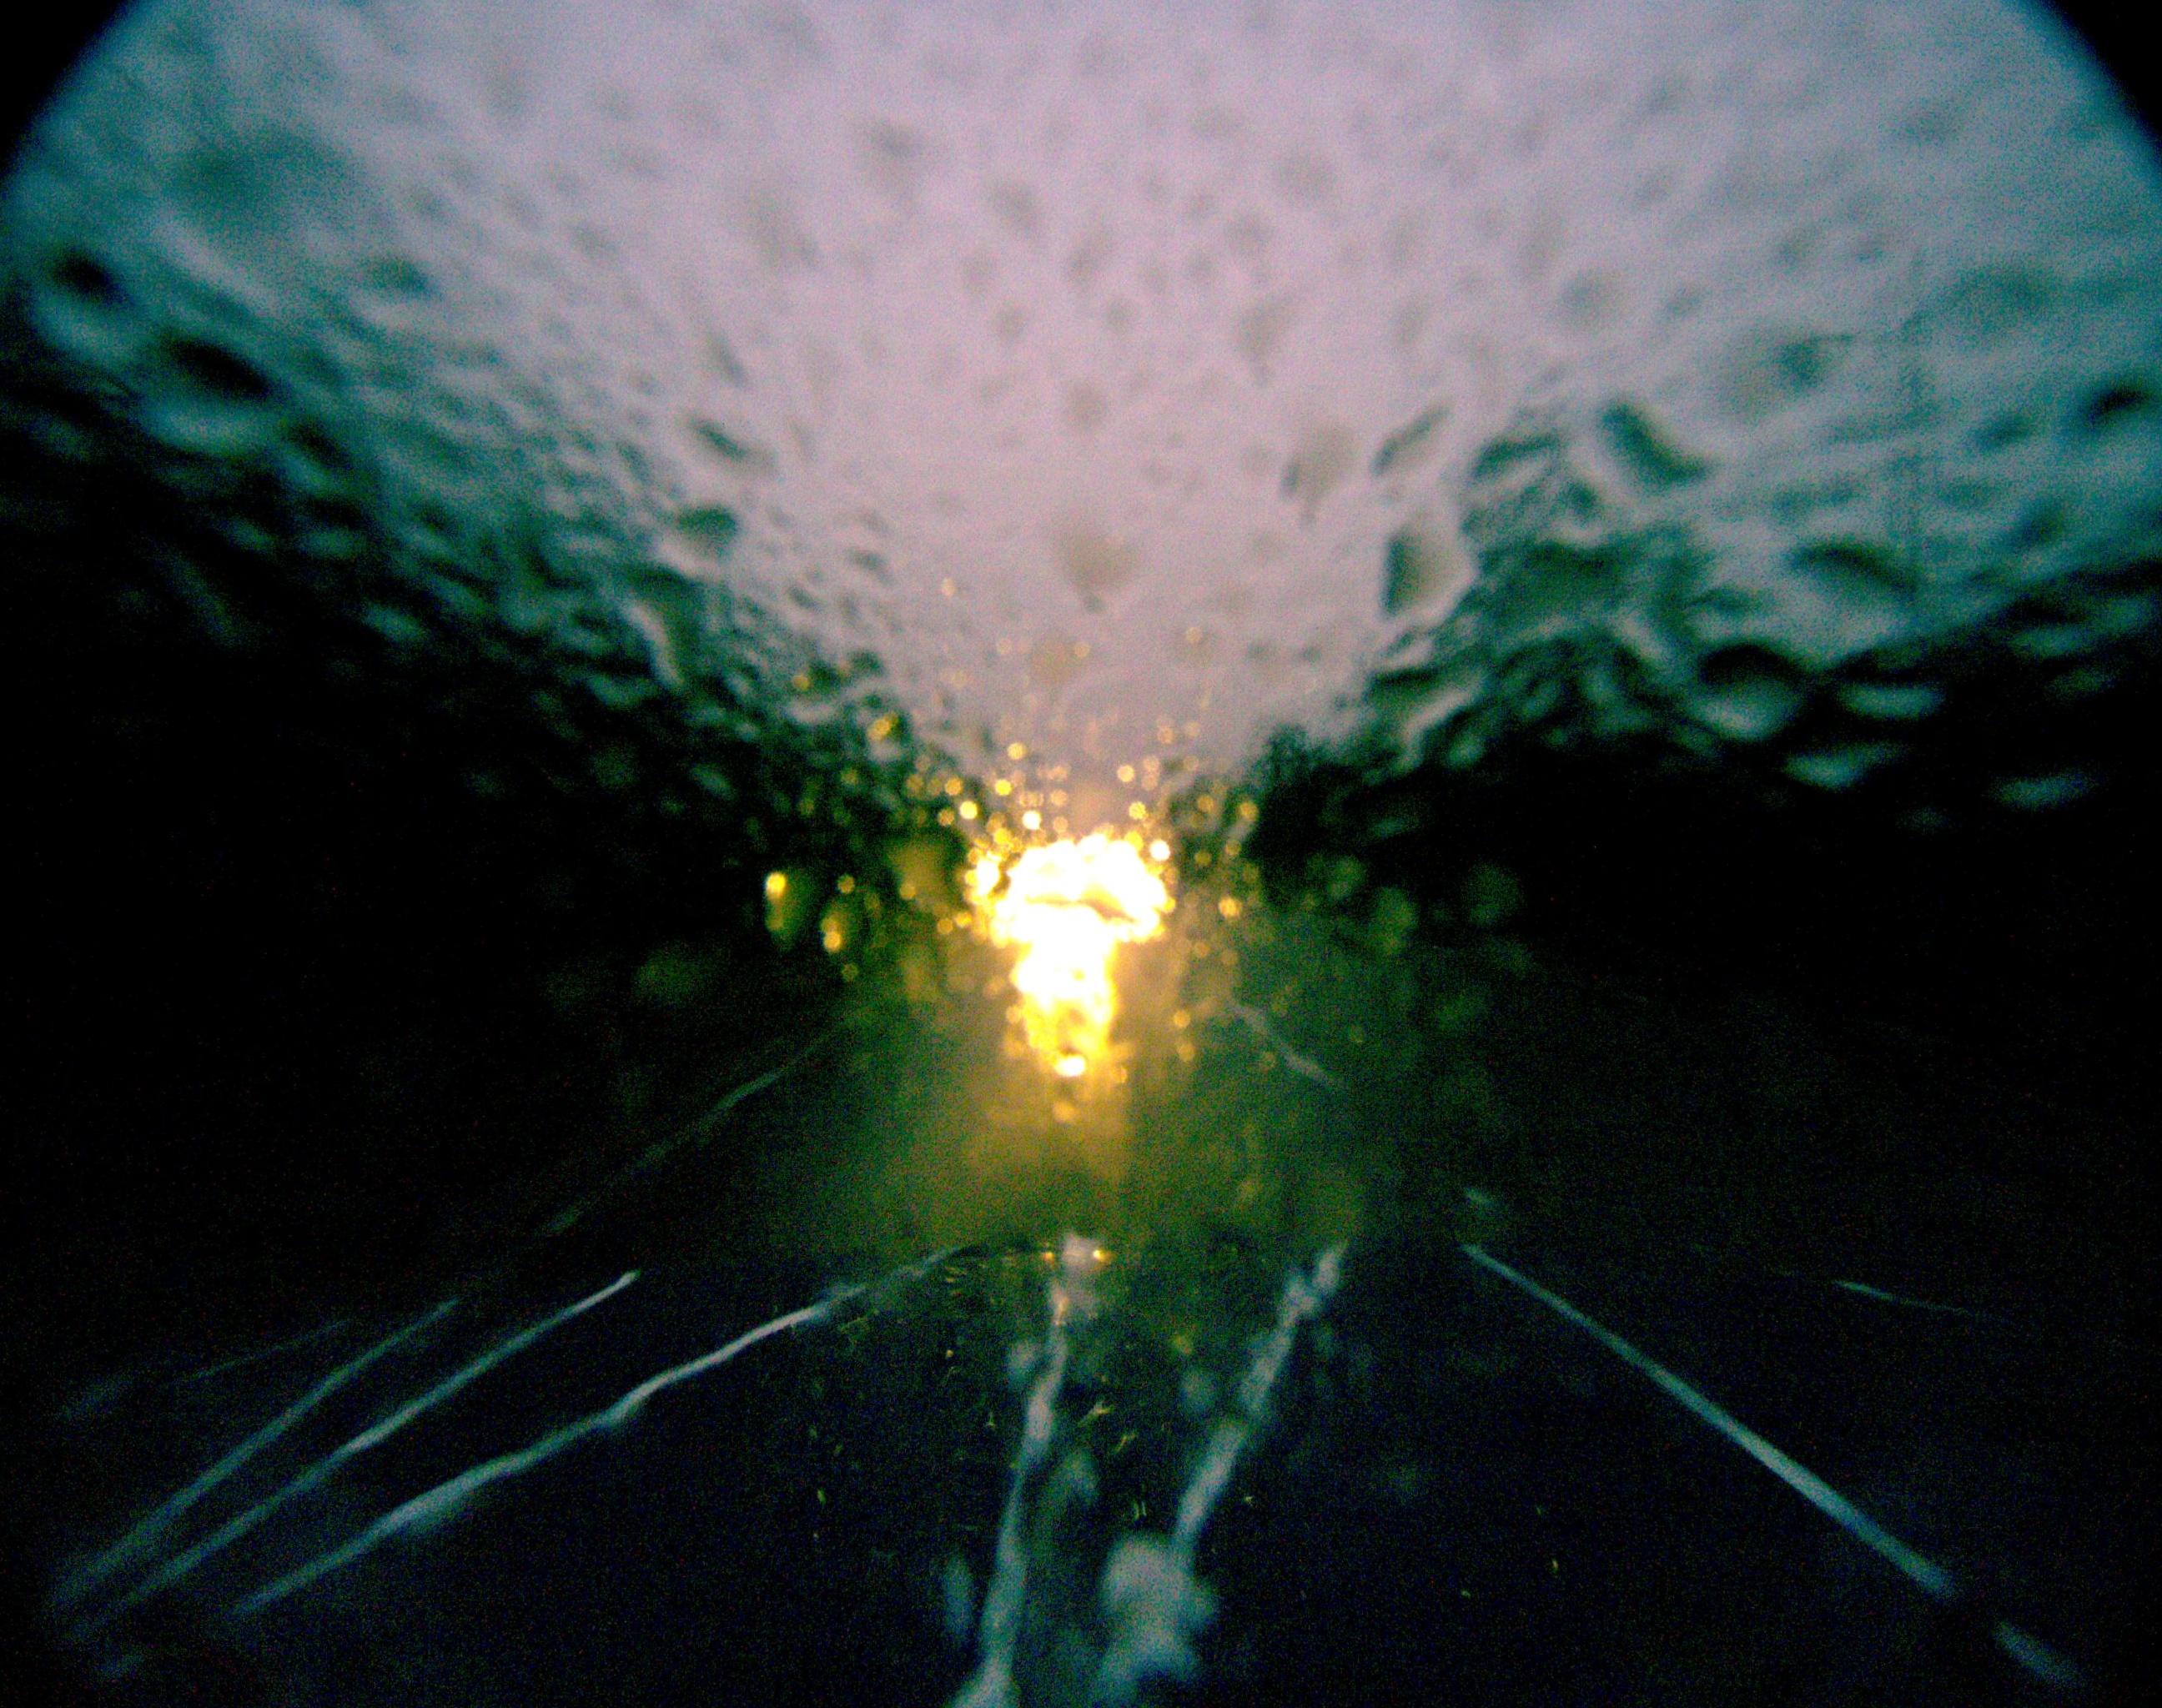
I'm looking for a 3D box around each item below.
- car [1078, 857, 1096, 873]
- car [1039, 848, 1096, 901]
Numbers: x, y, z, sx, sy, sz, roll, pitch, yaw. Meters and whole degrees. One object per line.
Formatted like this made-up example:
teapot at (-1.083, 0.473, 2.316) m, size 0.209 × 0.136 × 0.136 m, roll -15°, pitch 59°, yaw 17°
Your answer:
car at (0.733, 1.325, 90.772) m, size 1.998 × 1.752 × 4.371 m, roll -1°, pitch 0°, yaw 1°
car at (-0.399, 0.662, 26.799) m, size 1.572 × 1.701 × 4.001 m, roll -1°, pitch 0°, yaw 5°
